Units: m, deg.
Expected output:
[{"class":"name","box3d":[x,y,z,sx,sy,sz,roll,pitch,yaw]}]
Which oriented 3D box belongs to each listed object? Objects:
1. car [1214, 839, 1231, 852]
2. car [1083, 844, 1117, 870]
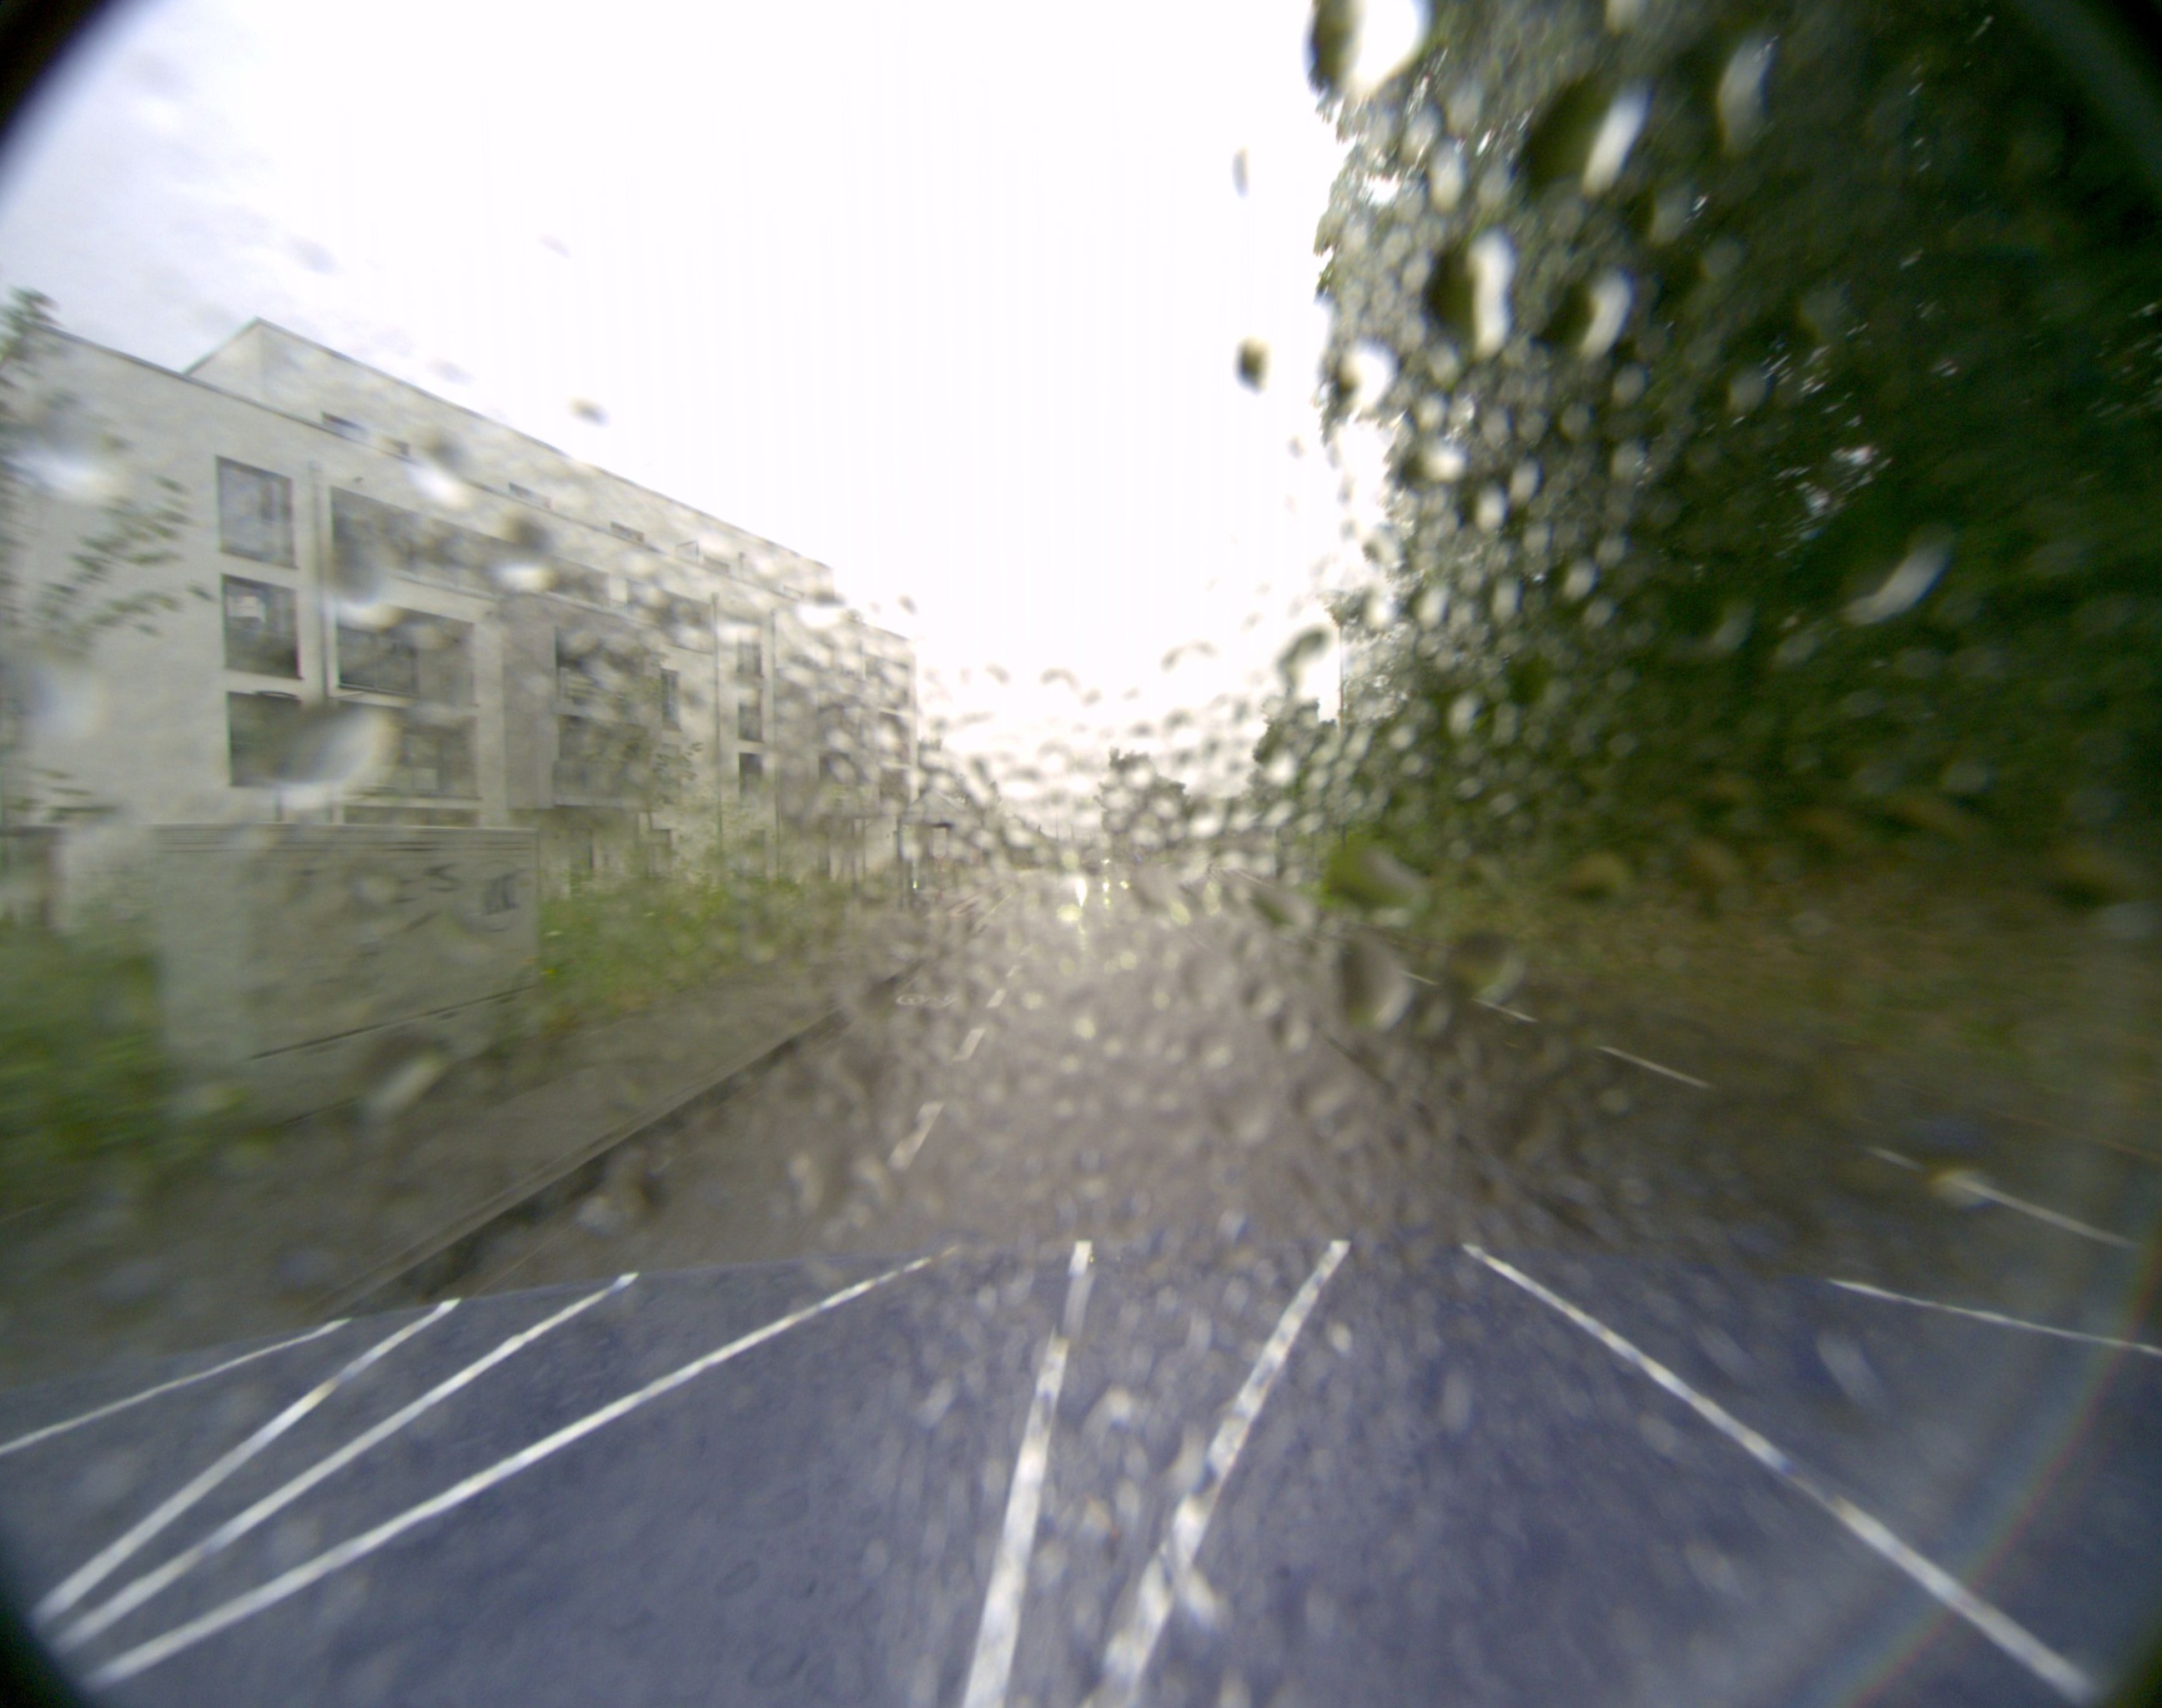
[{"class":"car","box3d":[15.498,-0.917,83.011,1.574,1.402,3.477,1,2,14]},{"class":"car","box3d":[1.188,0.219,45.596,1.764,1.477,3.793,0,-1,6]}]
